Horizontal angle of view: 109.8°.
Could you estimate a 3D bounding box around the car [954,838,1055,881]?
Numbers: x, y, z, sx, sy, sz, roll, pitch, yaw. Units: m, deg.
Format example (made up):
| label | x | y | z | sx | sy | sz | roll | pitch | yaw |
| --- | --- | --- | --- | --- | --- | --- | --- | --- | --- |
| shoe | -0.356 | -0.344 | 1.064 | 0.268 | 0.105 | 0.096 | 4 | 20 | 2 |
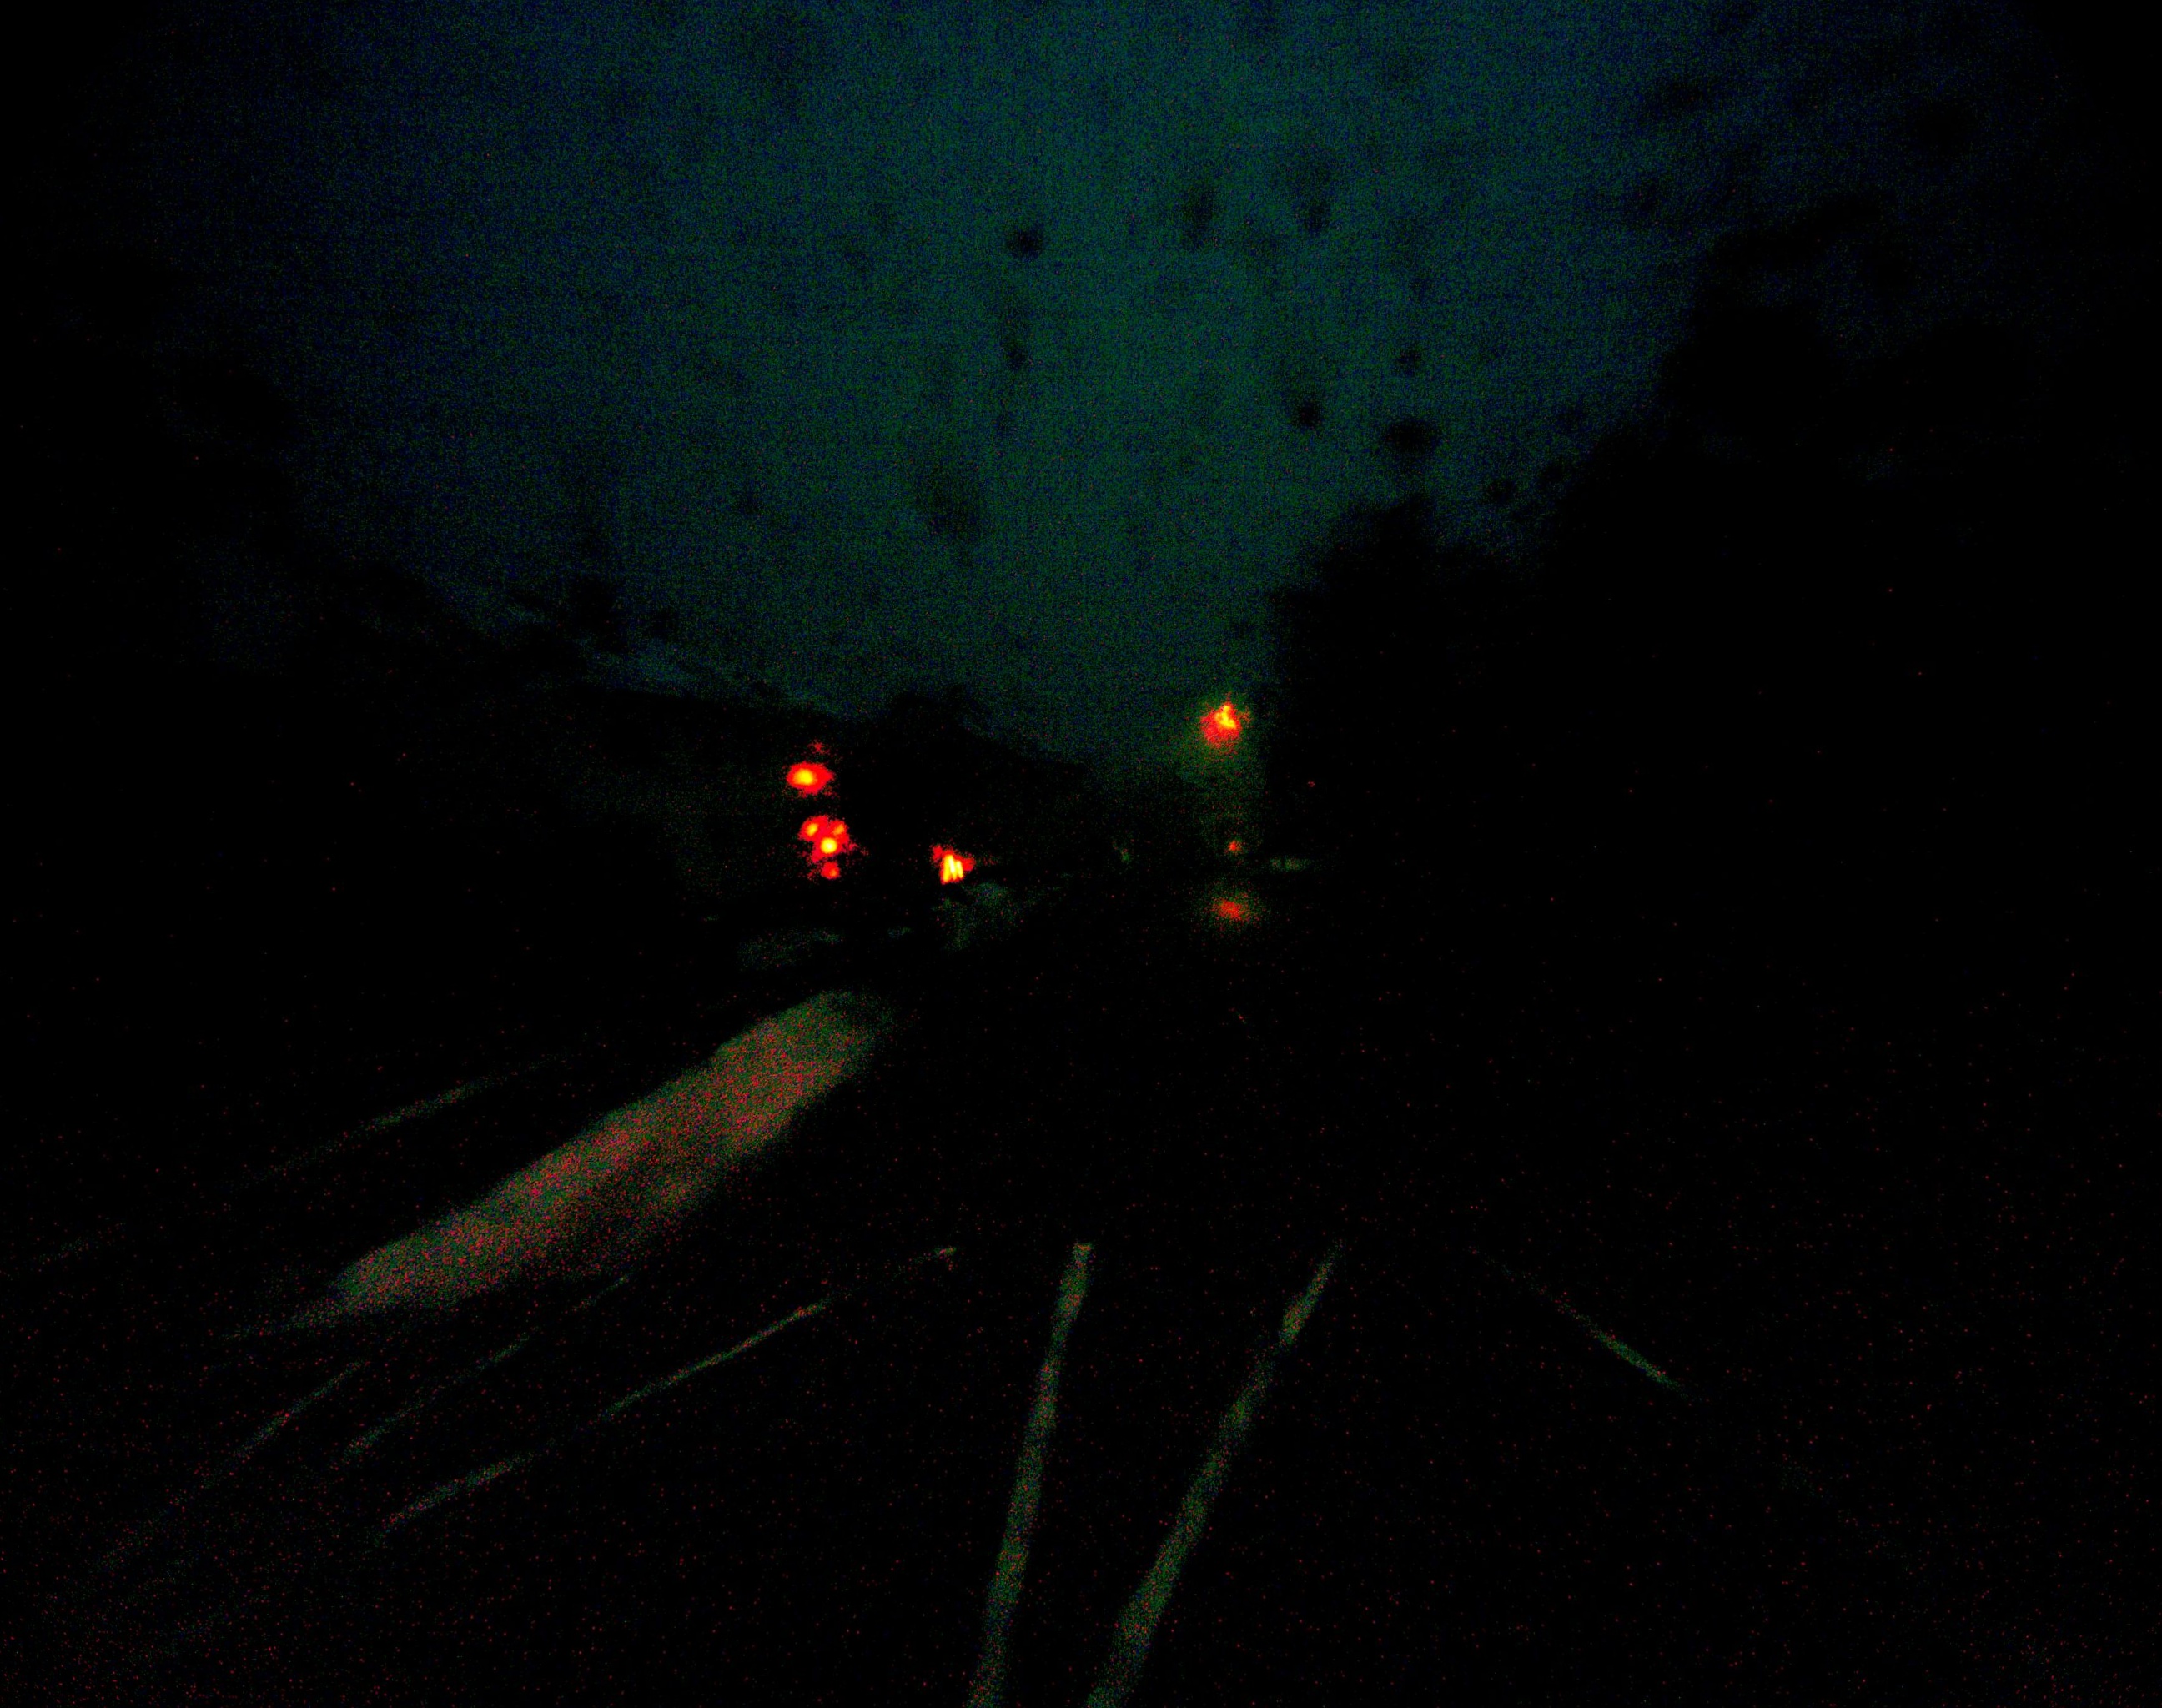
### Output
| label | x | y | z | sx | sy | sz | roll | pitch | yaw |
| --- | --- | --- | --- | --- | --- | --- | --- | --- | --- |
| car | -3.533 | 0.257 | 35.378 | 4.211 | 1.848 | 1.913 | -1 | 2 | 18 |
